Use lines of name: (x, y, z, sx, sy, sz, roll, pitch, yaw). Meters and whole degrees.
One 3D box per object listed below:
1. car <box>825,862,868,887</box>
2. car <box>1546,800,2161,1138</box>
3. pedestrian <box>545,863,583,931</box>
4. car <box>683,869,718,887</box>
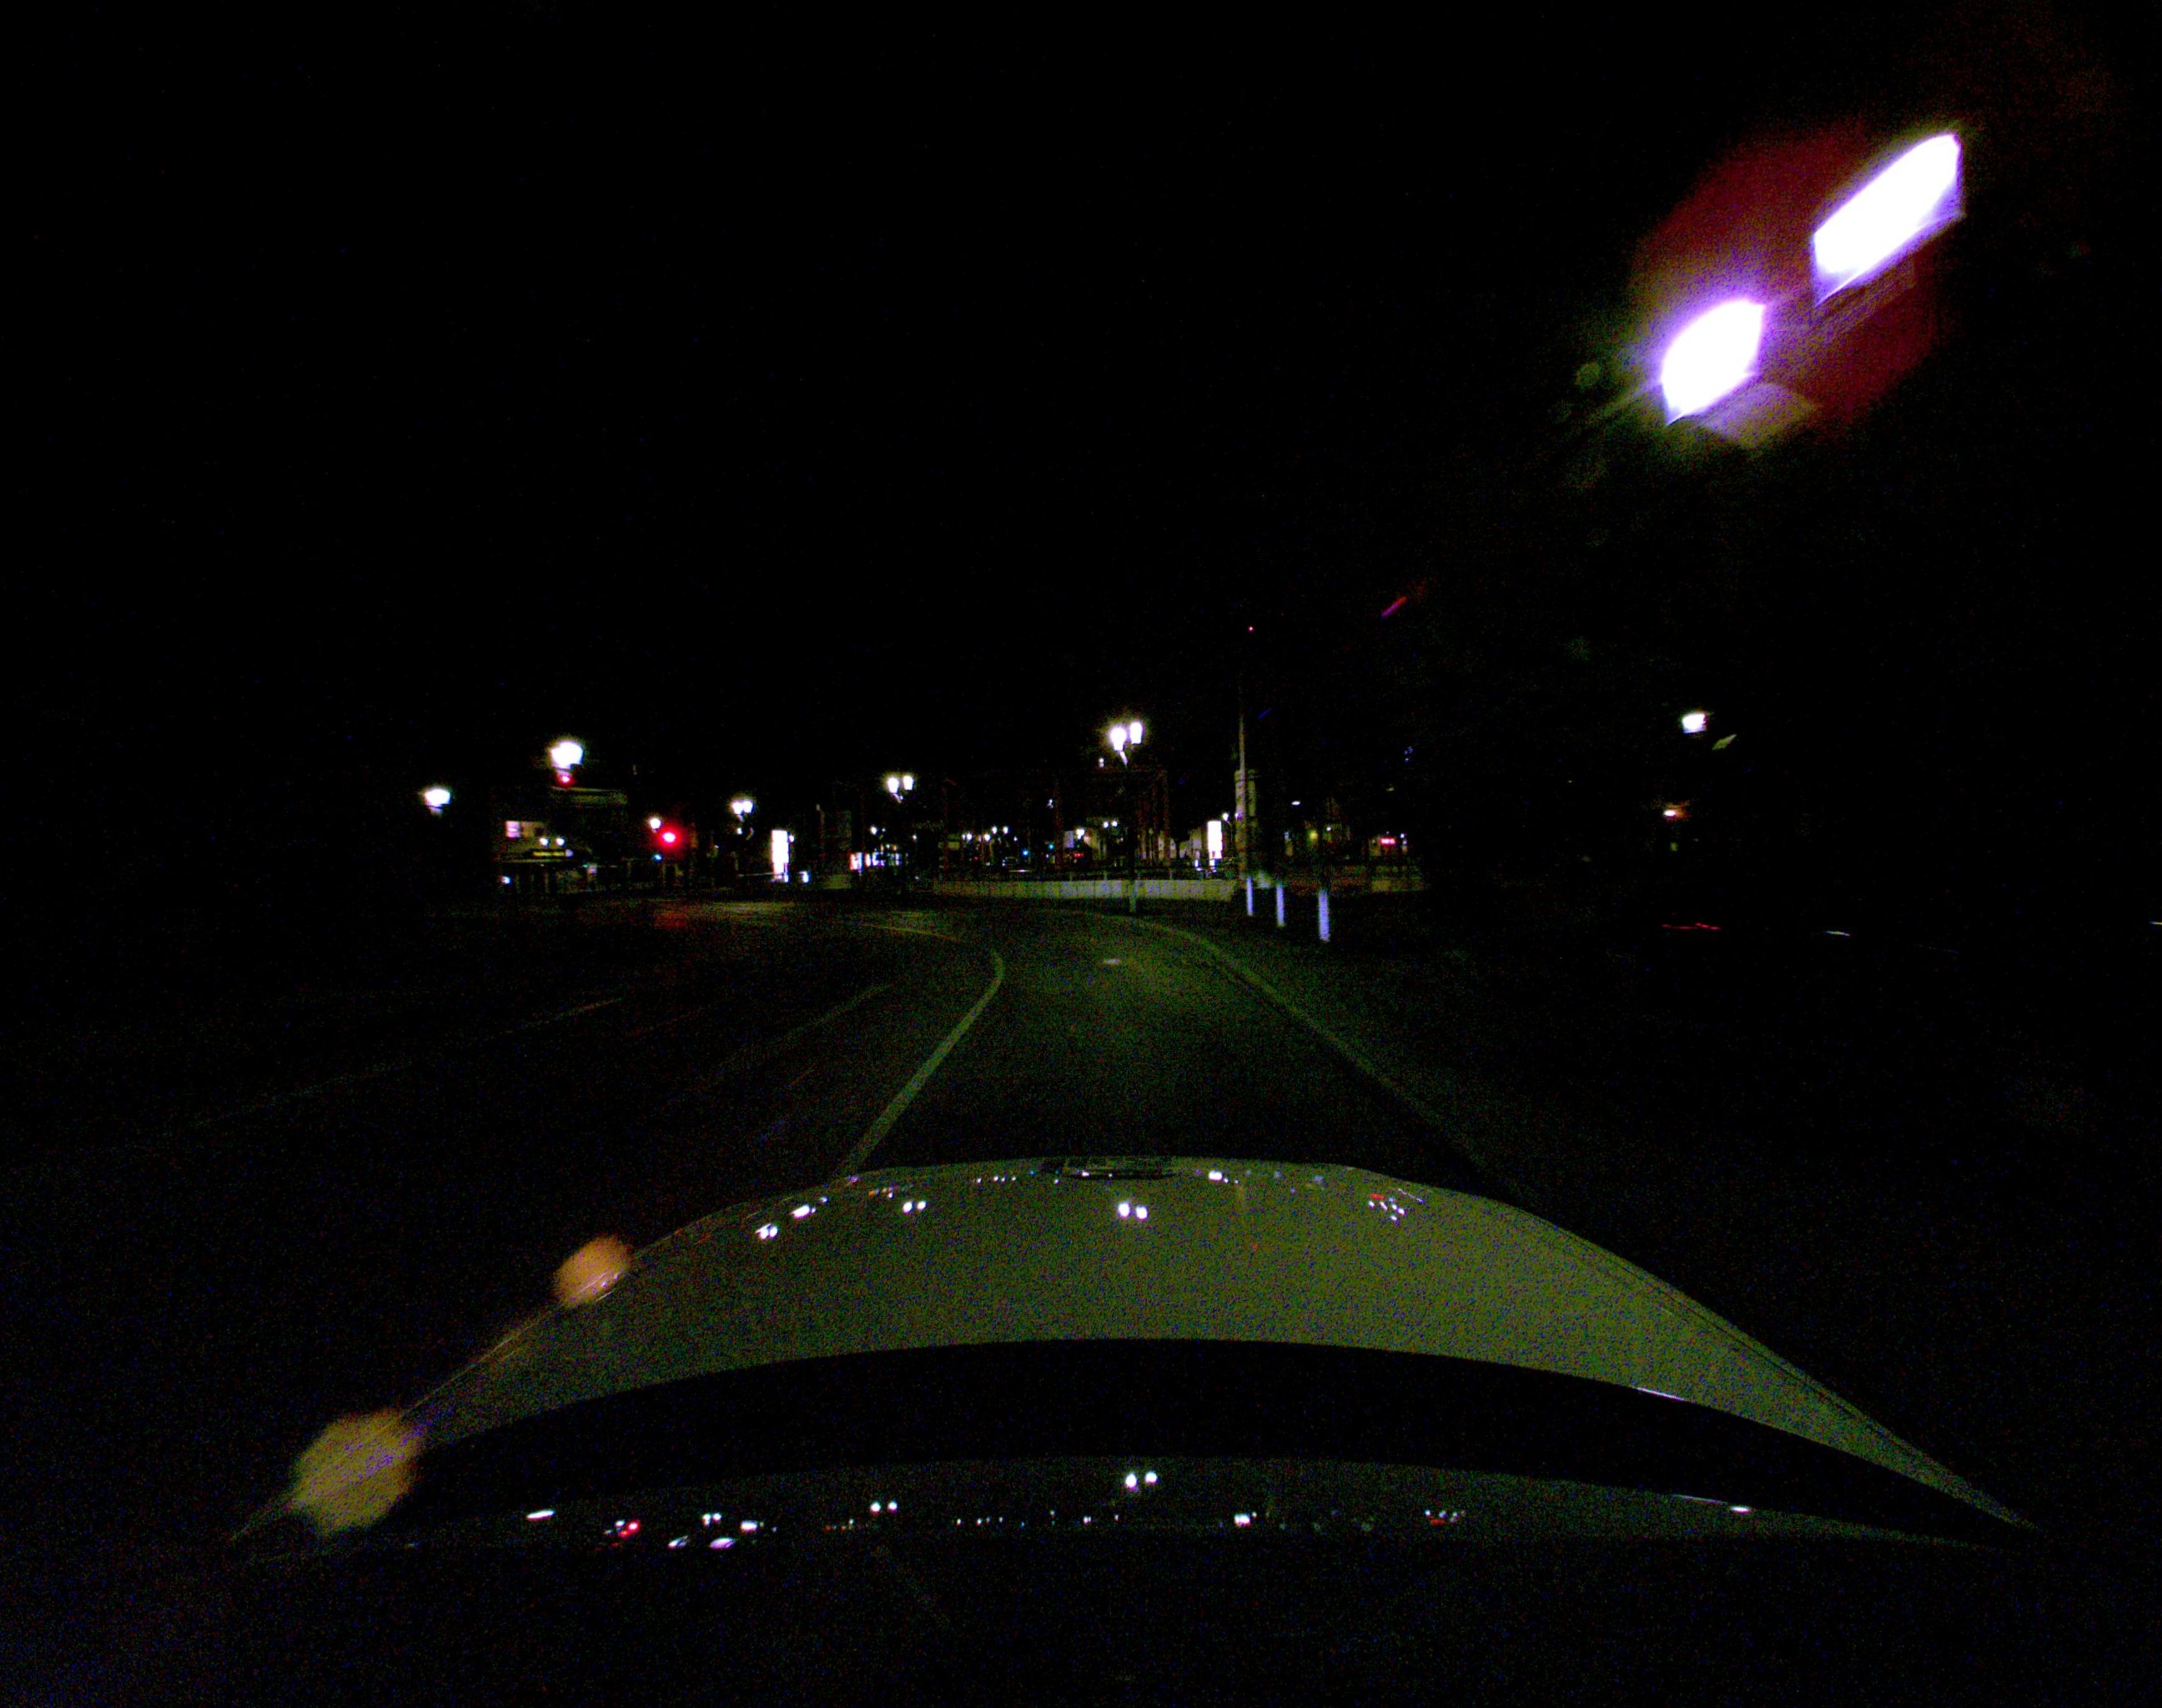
car: (-16.679, 1.438, 58.144, 1.989, 1.574, 4.324, -2, 0, -3)
car: (5.432, 0.486, 5.463, 1.729, 1.459, 4.722, -2, 0, -3)
pedestrian: (-14.025, 1.150, 22.091, 0.683, 1.822, 0.730, -3, -3, 45)
car: (-35.837, 2.220, 76.688, 2.011, 1.574, 3.610, -2, 0, -42)
